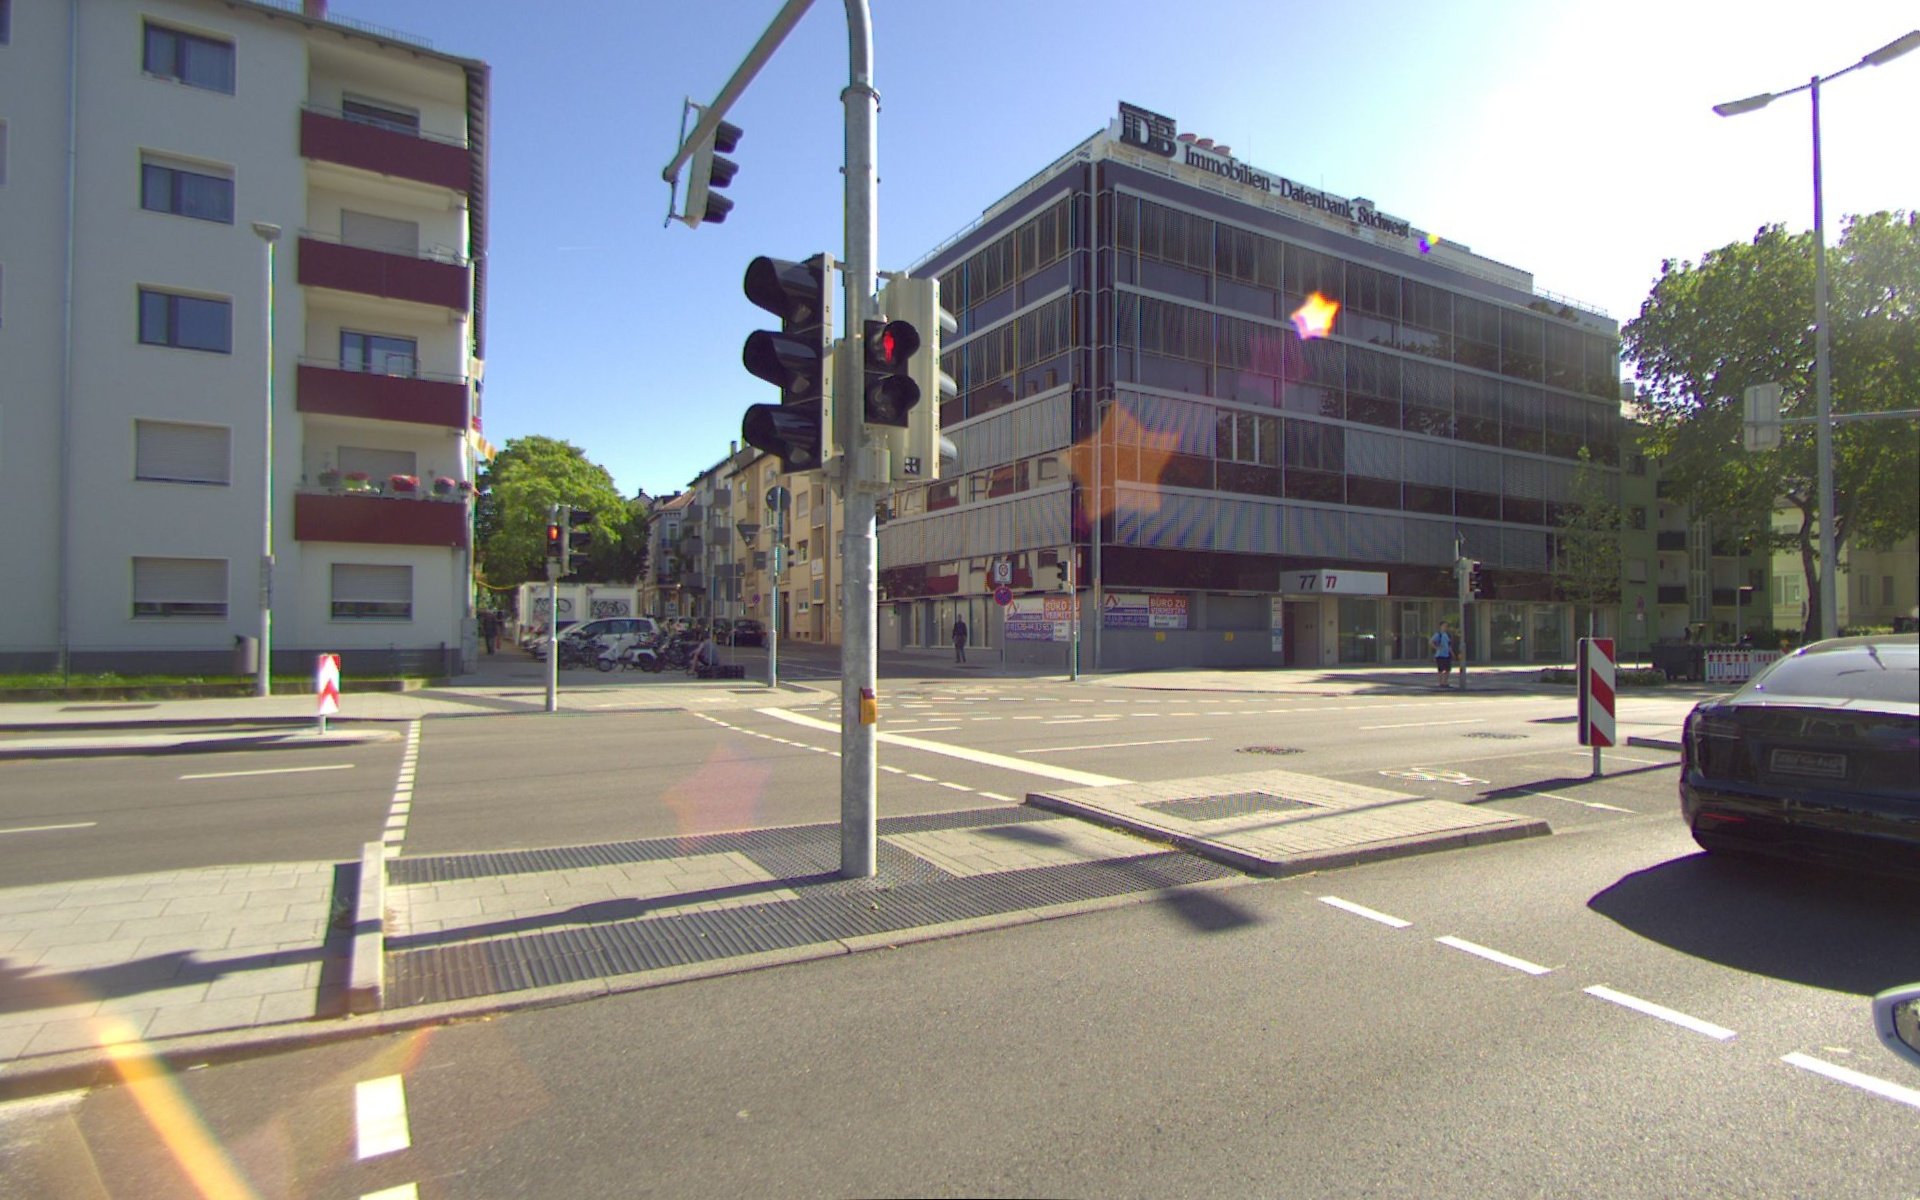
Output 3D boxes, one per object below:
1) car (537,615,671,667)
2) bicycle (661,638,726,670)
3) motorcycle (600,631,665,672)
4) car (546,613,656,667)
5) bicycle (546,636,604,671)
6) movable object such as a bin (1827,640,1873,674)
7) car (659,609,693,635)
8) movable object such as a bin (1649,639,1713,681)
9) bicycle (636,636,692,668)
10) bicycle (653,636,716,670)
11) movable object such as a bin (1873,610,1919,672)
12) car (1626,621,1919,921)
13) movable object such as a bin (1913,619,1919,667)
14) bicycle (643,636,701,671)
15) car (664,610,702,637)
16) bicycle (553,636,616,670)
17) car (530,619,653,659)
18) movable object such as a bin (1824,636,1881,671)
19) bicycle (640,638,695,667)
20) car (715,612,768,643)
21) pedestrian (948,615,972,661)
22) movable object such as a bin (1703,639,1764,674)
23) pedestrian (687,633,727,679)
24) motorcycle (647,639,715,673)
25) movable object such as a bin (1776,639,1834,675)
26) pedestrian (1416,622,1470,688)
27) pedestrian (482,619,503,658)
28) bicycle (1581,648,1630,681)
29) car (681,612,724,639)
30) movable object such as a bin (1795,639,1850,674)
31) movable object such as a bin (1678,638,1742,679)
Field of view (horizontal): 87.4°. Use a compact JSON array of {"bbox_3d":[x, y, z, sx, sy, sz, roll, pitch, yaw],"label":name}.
[{"bbox_3d":[-12.819,1.449,36.180,4.417,1.754,1.988,1,-1,-25],"label":"car"},{"bbox_3d":[-8.331,1.685,31.370,1.923,0.960,0.476,1,-1,-22],"label":"bicycle"},{"bbox_3d":[-9.564,1.498,29.338,1.757,1.157,0.610,1,-1,-22],"label":"motorcycle"},{"bbox_3d":[-13.684,1.517,38.301,3.745,1.981,1.690,1,-1,-28],"label":"car"},{"bbox_3d":[-12.121,1.666,31.614,1.668,1.072,0.572,1,-1,-26],"label":"bicycle"},{"bbox_3d":[35.929,2.288,40.553,1.523,1.287,0.975,1,-1,-31],"label":"movable object such as a bin"},{"bbox_3d":[-20.709,1.583,73.167,1.972,1.796,3.978,1,0,-23],"label":"car"},{"bbox_3d":[24.824,2.043,34.568,1.833,1.406,1.109,1,-1,-29],"label":"movable object such as a bin"},{"bbox_3d":[-9.688,1.707,32.866,1.713,1.017,0.507,1,-1,-26],"label":"bicycle"},{"bbox_3d":[-8.400,1.608,30.677,1.853,0.991,0.507,1,-1,-14],"label":"bicycle"},{"bbox_3d":[44.235,1.881,46.183,5.298,2.742,2.134,1,-2,-34],"label":"movable object such as a bin"},{"bbox_3d":[6.379,0.854,6.277,4.572,1.430,1.916,1,-1,-31],"label":"car"},{"bbox_3d":[49.418,2.108,49.422,5.529,2.308,1.986,1,-3,-28],"label":"movable object such as a bin"},{"bbox_3d":[-9.159,1.679,31.940,1.715,1.082,0.487,1,-1,-29],"label":"bicycle"},{"bbox_3d":[-18.974,1.588,68.720,1.972,1.796,3.978,1,0,-23],"label":"car"},{"bbox_3d":[-11.211,1.580,29.986,1.713,0.982,0.572,1,-1,-26],"label":"bicycle"},{"bbox_3d":[-14.953,1.554,40.843,4.517,1.549,1.752,1,-1,-28],"label":"car"},{"bbox_3d":[37.220,2.216,41.929,1.608,1.441,1.259,-1,-2,34],"label":"movable object such as a bin"},{"bbox_3d":[-9.817,1.747,33.754,1.702,0.960,0.456,1,-1,-29],"label":"bicycle"},{"bbox_3d":[-11.869,1.484,54.433,1.973,1.623,3.975,1,-1,-25],"label":"car"},{"bbox_3d":[0.005,1.390,36.970,0.686,1.680,0.747,0,-1,15],"label":"pedestrian"},{"bbox_3d":[28.248,2.062,36.692,1.225,1.219,1.389,1,-1,-27],"label":"movable object such as a bin"},{"bbox_3d":[-6.655,1.466,26.432,0.783,1.168,0.710,1,-2,-43],"label":"pedestrian"},{"bbox_3d":[-8.044,1.611,28.984,1.816,0.948,0.501,1,-1,-24],"label":"motorcycle"},{"bbox_3d":[32.867,2.200,39.100,1.142,1.355,1.404,1,-1,-28],"label":"movable object such as a bin"},{"bbox_3d":[12.879,1.444,26.798,0.998,1.733,0.863,0,-1,-23],"label":"pedestrian"},{"bbox_3d":[-18.208,1.484,39.122,0.685,1.516,0.597,1,-1,-27],"label":"pedestrian"},{"bbox_3d":[22.064,2.193,34.351,1.856,1.051,0.624,1,-1,-30],"label":"bicycle"},{"bbox_3d":[-16.371,1.616,63.761,1.973,1.623,3.975,1,-1,-25],"label":"car"},{"bbox_3d":[33.881,2.204,39.487,0.924,1.355,1.404,1,-1,-28],"label":"movable object such as a bin"},{"bbox_3d":[26.756,2.053,35.840,1.833,1.406,1.209,1,-1,-29],"label":"movable object such as a bin"}]
